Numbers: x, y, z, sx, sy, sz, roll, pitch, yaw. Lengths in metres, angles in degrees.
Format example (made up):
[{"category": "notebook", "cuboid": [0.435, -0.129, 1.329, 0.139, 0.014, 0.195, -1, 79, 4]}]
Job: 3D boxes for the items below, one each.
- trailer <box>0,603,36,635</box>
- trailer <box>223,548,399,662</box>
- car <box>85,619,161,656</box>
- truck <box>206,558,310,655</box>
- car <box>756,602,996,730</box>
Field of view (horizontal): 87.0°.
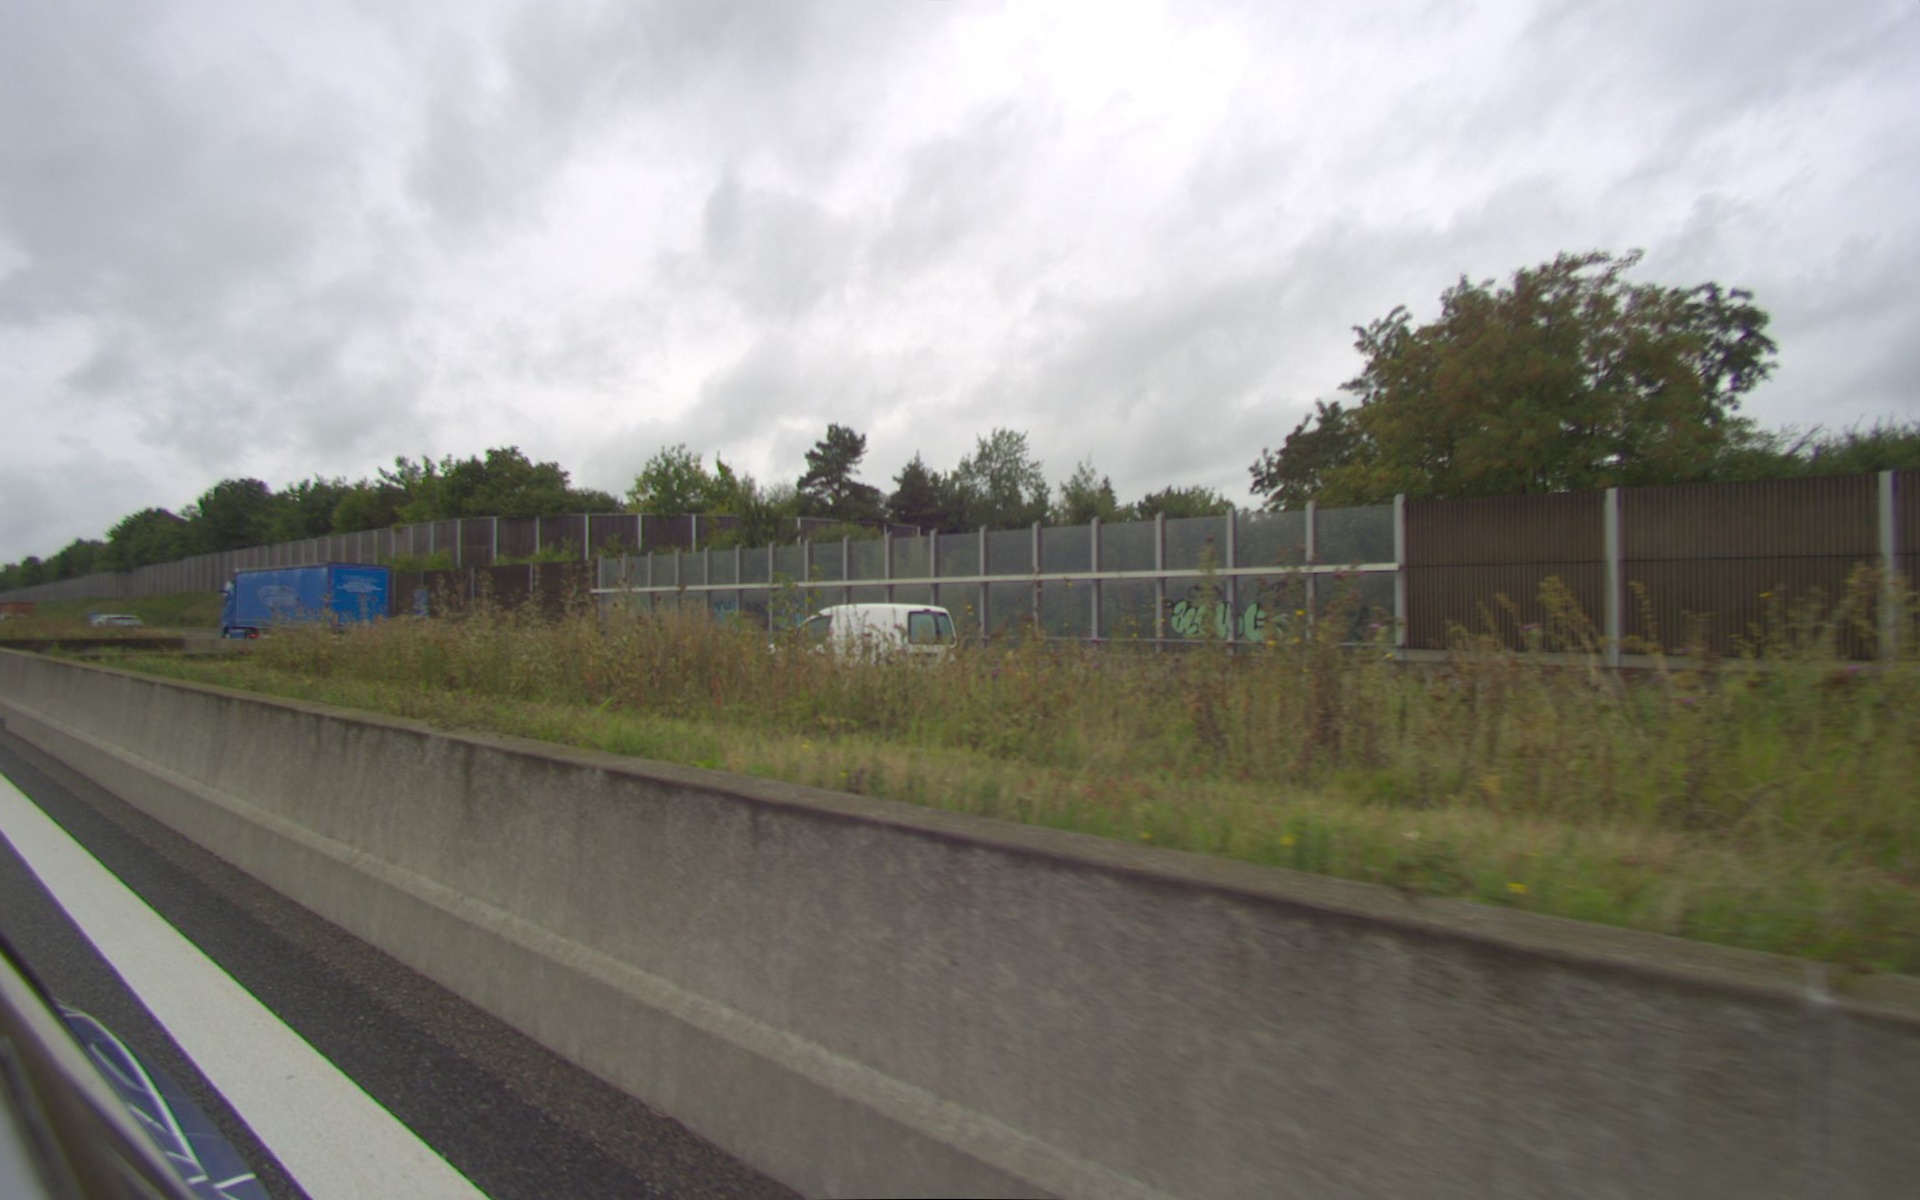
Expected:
[{"category": "trailer", "cuboid": [-115.881, 2.333, 123.928, 12.556, 3.711, 2.698, -1, -1, 41]}, {"category": "trailer", "cuboid": [-31.890, 0.255, 49.292, 13.514, 4.922, 3.185, -1, 1, 40]}, {"category": "car", "cuboid": [-37.281, 1.638, 45.016, 4.818, 1.530, 1.972, -1, -1, 42]}, {"category": "truck", "cuboid": [-37.392, 0.330, 53.875, 5.414, 4.895, 3.156, -1, 1, 40]}, {"category": "car", "cuboid": [-1.603, 1.088, 18.400, 4.195, 2.029, 1.973, -1, 0, 41]}]
